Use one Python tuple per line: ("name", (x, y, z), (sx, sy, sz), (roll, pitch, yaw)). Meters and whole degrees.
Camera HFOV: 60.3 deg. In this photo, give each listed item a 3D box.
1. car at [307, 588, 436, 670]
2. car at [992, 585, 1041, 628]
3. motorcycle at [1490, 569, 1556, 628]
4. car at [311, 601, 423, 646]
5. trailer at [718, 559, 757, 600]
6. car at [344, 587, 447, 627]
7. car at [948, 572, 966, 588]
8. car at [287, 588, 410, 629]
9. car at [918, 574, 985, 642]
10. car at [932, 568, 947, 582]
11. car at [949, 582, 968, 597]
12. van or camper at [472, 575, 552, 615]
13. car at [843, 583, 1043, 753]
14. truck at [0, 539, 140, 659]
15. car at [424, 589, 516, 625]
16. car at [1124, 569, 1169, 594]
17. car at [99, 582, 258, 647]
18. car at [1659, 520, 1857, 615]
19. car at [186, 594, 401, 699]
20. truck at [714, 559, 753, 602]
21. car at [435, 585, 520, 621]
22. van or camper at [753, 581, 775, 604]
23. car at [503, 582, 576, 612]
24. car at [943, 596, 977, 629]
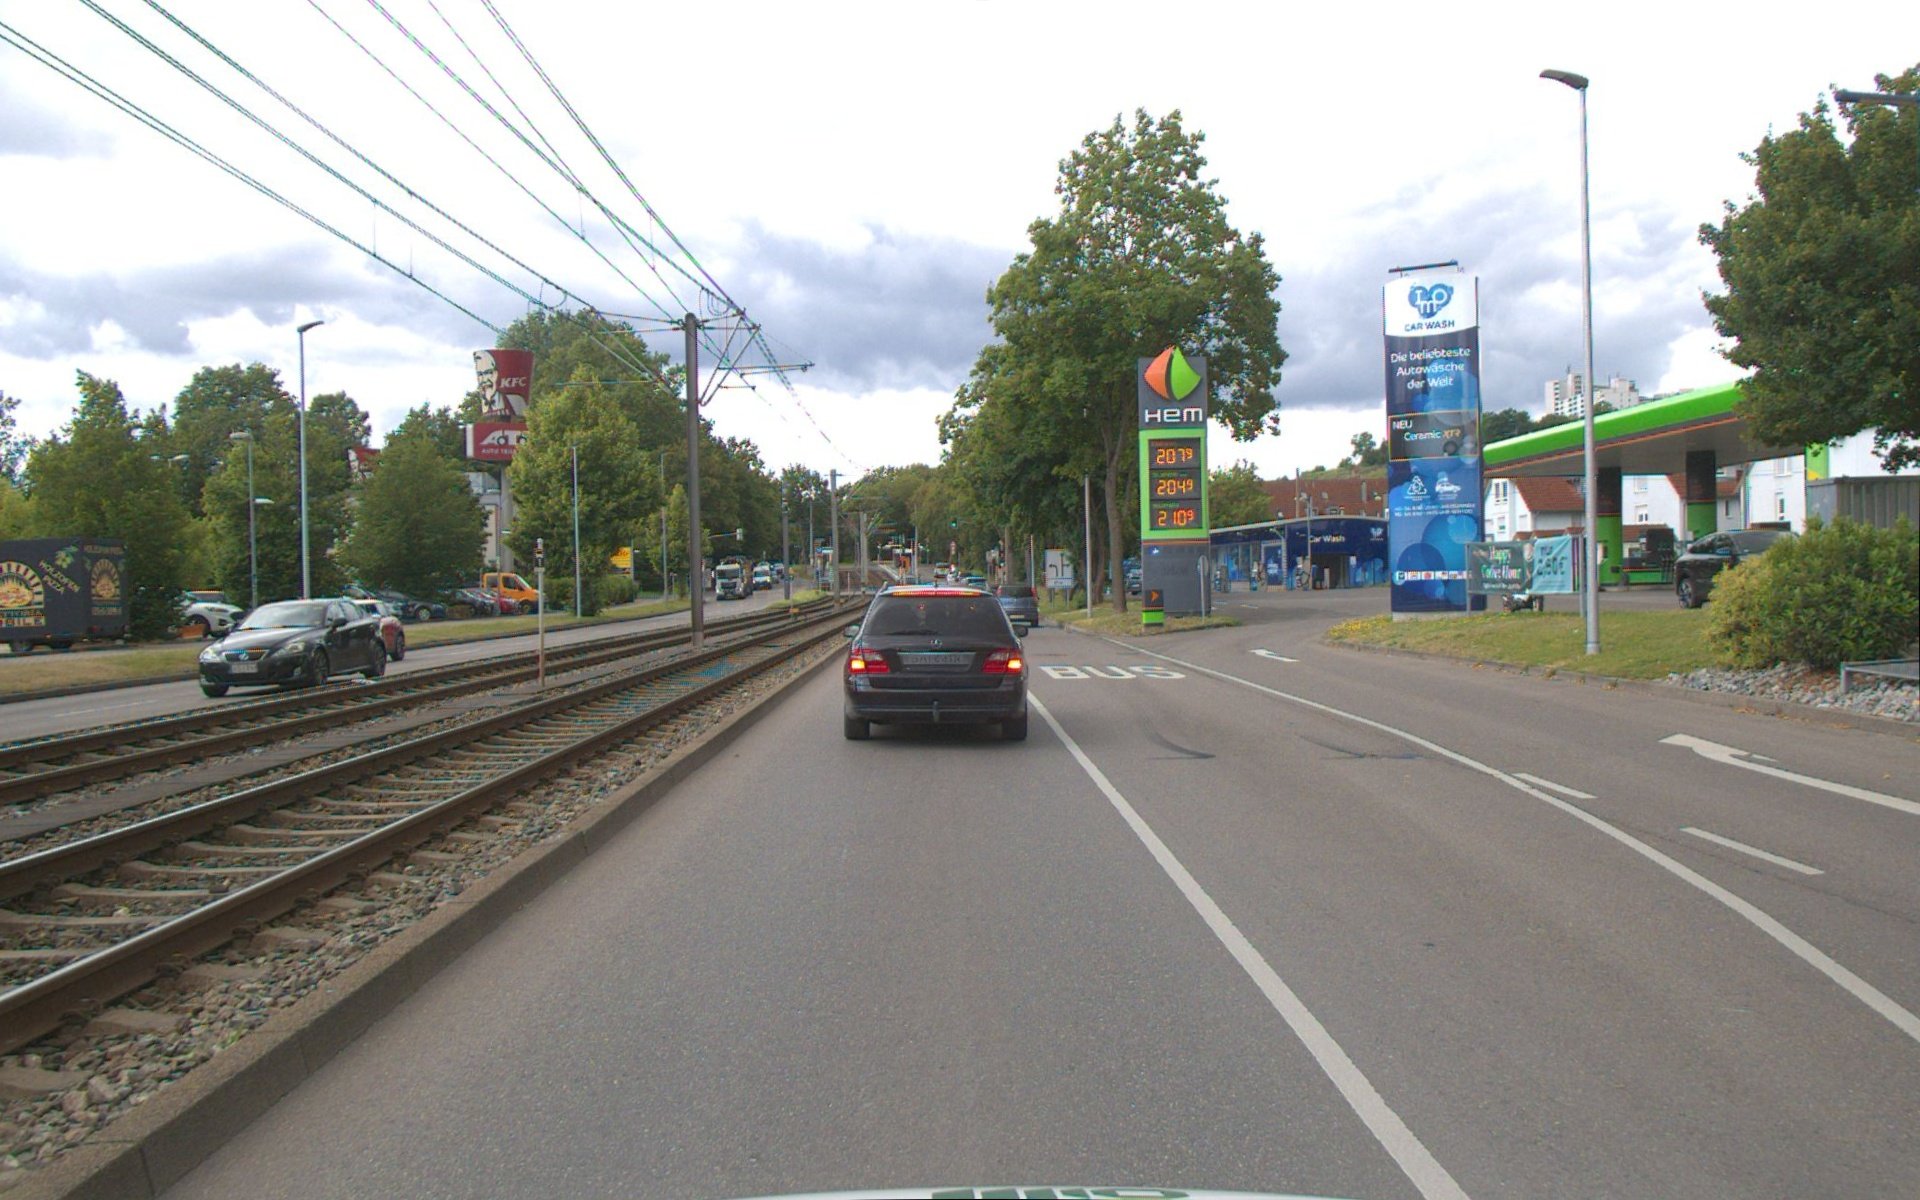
("car", (-13.933, 0.646, 39.384), (1.756, 1.803, 3.998), (-1, 0, -3))
("car", (1.952, 0.234, 58.071), (1.539, 1.439, 3.353), (1, 0, -1))
("motorcycle", (13.461, -0.041, 39.583), (0.838, 1.354, 1.989), (-2, 0, -1))
("car", (-24.230, 0.955, 67.715), (3.910, 1.663, 1.876), (-2, 0, -6))
("trailer", (-21.076, -1.905, 157.257), (2.652, 3.724, 13.288), (-2, 0, -4))
("car", (-24.843, 0.301, 72.935), (3.910, 1.627, 1.876), (-2, 0, -6))
("car", (-0.394, -2.281, 191.654), (1.953, 1.744, 3.999), (-1, 1, -1))
("car", (-24.093, 0.315, 65.287), (4.221, 1.497, 1.679), (-1, 0, -3))
("car", (-0.257, 0.213, 45.554), (1.744, 1.781, 3.717), (1, 0, -1))
("car", (-2.654, -3.227, 214.121), (1.953, 1.870, 3.999), (0, 0, -1))
("car", (-0.175, -1.071, 173.153), (1.634, 1.559, 3.767), (0, 0, -4))
("van or camper", (-24.507, -0.292, 90.593), (3.910, 2.172, 1.876), (0, 0, -6))
("car", (-0.182, 0.581, 16.576), (1.772, 1.500, 3.880), (0, 0, -1))
("truck", (-23.111, -0.011, 41.410), (3.908, 2.871, 2.374), (-2, 0, -4))
("car", (-23.762, 0.317, 80.340), (3.910, 1.627, 1.876), (-2, 0, -6))
("car", (13.401, -1.321, 118.640), (1.965, 1.712, 4.579), (-2, 1, 23))
("car", (-23.906, 0.414, 50.711), (3.910, 1.829, 1.876), (-2, 0, -6))
("car", (16.109, -0.608, 33.666), (1.784, 1.704, 4.336), (-3, 0, -1))
("car", (-10.663, 0.690, 26.824), (1.724, 1.425, 4.442), (-4, 0, -2))
("truck", (-20.686, -1.757, 151.252), (2.653, 3.727, 11.104), (-2, 0, -4))
("car", (-24.900, 0.165, 85.496), (3.910, 1.829, 1.876), (0, 0, -6))
("van or camper", (-21.815, -0.851, 183.901), (1.954, 2.395, 5.762), (-2, 0, -3))
("car", (-25.183, -0.175, 99.134), (3.910, 1.627, 1.794), (-2, 0, -6))
("car", (-0.034, 0.538, 73.290), (1.436, 1.439, 3.353), (1, 0, -1))
